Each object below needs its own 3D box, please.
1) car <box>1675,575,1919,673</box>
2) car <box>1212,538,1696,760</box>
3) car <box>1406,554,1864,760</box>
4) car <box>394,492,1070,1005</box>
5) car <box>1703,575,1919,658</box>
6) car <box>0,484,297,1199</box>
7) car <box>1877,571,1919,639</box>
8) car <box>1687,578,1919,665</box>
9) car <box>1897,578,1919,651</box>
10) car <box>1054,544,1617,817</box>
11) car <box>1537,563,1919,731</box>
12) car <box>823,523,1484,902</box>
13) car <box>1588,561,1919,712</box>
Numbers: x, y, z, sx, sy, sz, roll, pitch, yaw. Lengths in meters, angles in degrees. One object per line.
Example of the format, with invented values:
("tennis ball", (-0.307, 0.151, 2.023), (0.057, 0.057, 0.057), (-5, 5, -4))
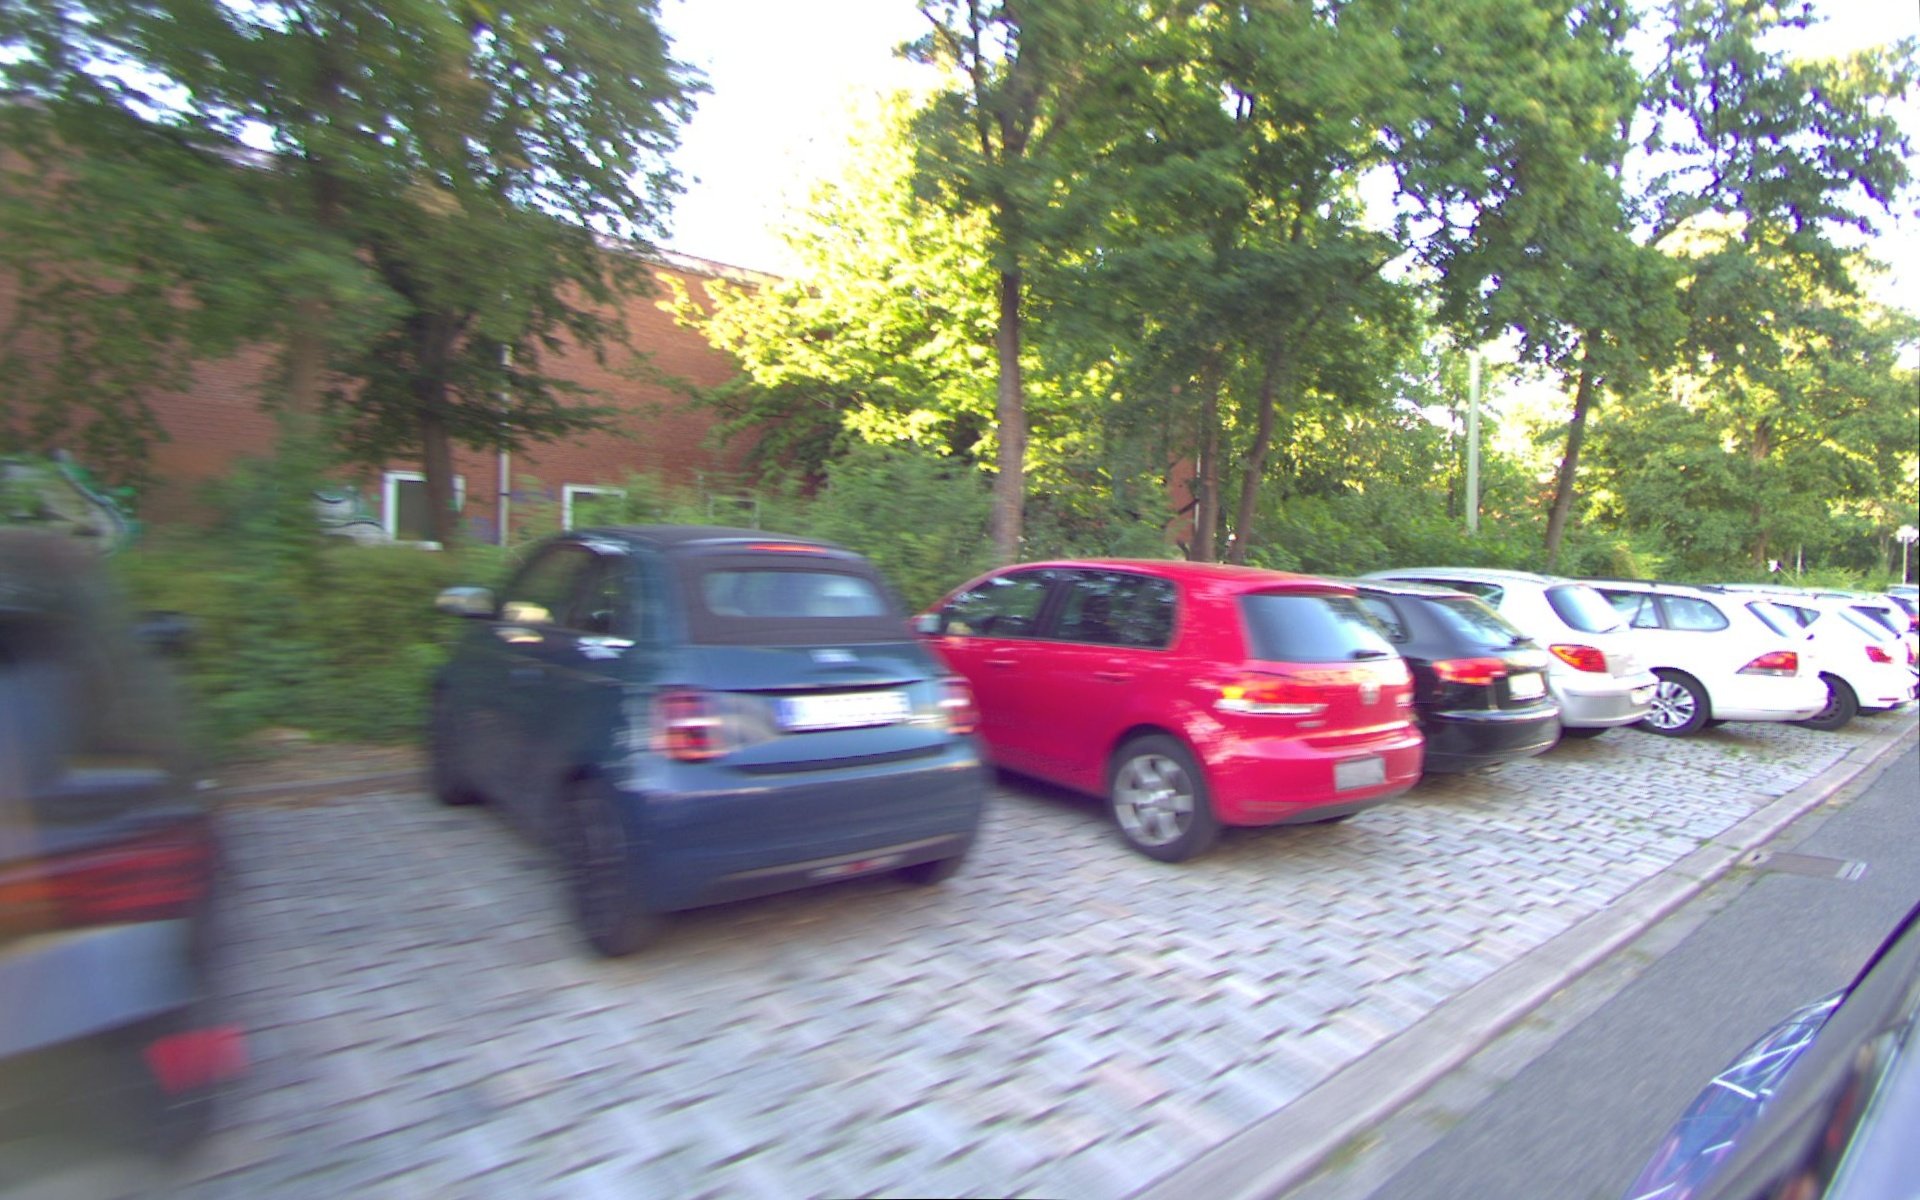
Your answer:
("car", (15.360, 0.366, 18.505), (1.642, 1.544, 3.393), (0, 2, -40))
("car", (4.575, 0.278, 9.805), (1.788, 1.516, 3.736), (-1, 6, -40))
("car", (7.037, 0.439, 10.832), (1.705, 1.571, 3.674), (0, 6, -42))
("car", (-1.474, 0.299, 5.114), (1.799, 1.492, 3.820), (0, 6, -39))
("car", (18.832, 0.292, 22.050), (1.709, 1.530, 3.957), (0, 3, -41))
("car", (-3.077, 0.433, 2.689), (1.799, 1.492, 4.133), (0, 5, -39))
("car", (27.049, 0.131, 28.154), (1.919, 1.770, 4.601), (4, 3, 39))
("car", (17.052, 0.355, 20.379), (1.642, 1.559, 3.634), (0, 2, -40))
("car", (23.001, 0.347, 23.553), (1.651, 1.587, 4.233), (4, 3, 43))
("car", (2.712, 0.392, 8.007), (1.726, 1.411, 3.760), (-1, 6, -40))
("car", (9.367, 0.442, 12.292), (1.705, 1.461, 3.674), (0, 6, -42))
("car", (0.914, 0.373, 6.403), (1.725, 1.492, 3.818), (-1, 6, -40))
("car", (10.975, 0.391, 13.884), (1.643, 1.543, 3.618), (0, 6, -42))
